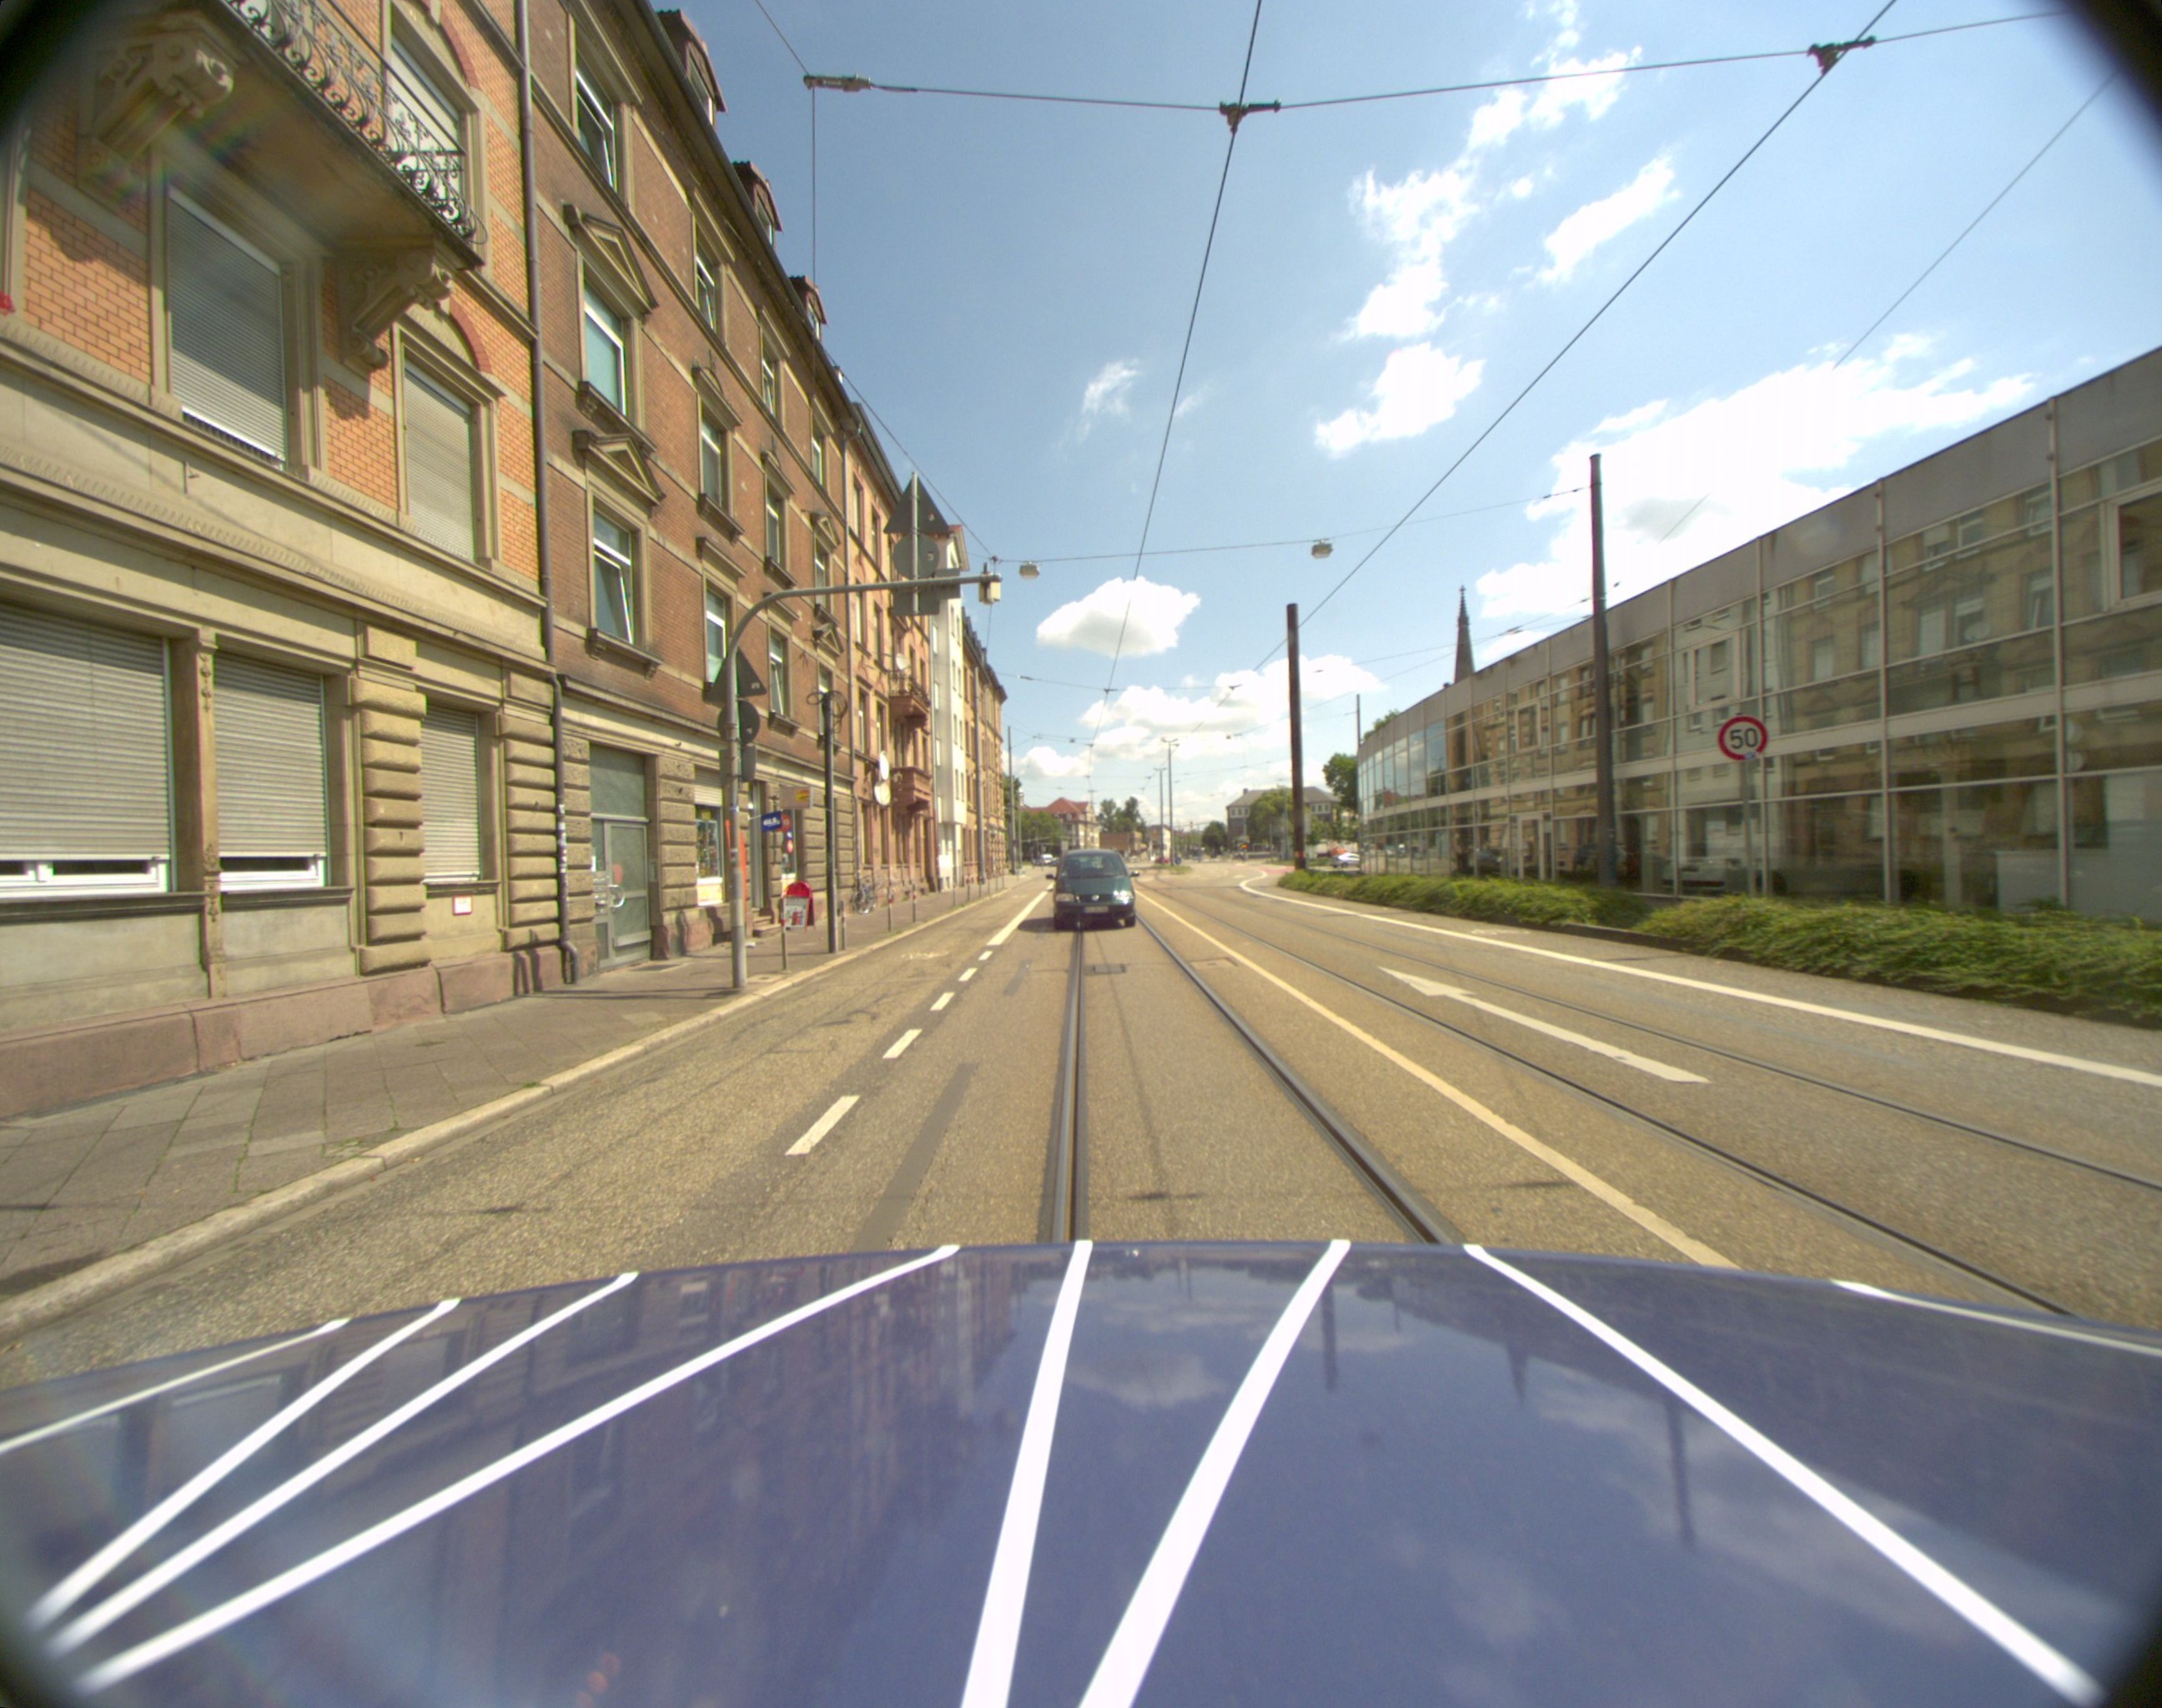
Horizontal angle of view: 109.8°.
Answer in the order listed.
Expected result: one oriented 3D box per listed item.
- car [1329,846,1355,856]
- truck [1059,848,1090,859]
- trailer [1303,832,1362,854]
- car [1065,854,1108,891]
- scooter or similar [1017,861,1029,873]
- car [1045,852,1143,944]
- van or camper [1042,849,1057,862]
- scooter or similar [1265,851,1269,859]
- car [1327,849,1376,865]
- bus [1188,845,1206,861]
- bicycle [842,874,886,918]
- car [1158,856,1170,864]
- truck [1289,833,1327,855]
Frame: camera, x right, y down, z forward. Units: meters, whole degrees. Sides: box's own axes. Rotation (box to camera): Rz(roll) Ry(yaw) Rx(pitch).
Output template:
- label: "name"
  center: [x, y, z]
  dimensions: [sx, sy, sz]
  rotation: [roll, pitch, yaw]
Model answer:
- label: "car"
  center: [48.363, -0.511, 140.796]
  dimensions: [4.373, 1.855, 1.913]
  rotation: [0, 0, -27]
- label: "truck"
  center: [-1.965, -0.082, 232.658]
  dimensions: [8.744, 2.981, 3.349]
  rotation: [-2, 2, -25]
- label: "trailer"
  center: [50.359, -2.184, 152.082]
  dimensions: [13.439, 4.052, 2.942]
  rotation: [-2, 0, -30]
- label: "car"
  center: [0.224, 0.839, 37.133]
  dimensions: [1.873, 1.607, 4.426]
  rotation: [-4, 0, -1]
- label: "scooter or similar"
  center: [-5.845, 1.353, 76.684]
  dimensions: [0.949, 1.173, 1.086]
  rotation: [-1, 1, 7]
- label: "car"
  center: [0.268, 0.853, 16.855]
  dimensions: [1.819, 1.707, 4.085]
  rotation: [-3, 0, 0]
- label: "van or camper"
  center: [-6.935, 0.365, 167.225]
  dimensions: [2.234, 2.719, 5.516]
  rotation: [-2, 0, -12]
- label: "scooter or similar"
  center: [28.135, 0.220, 114.860]
  dimensions: [0.462, 1.193, 0.549]
  rotation: [-2, 0, -1]
- label: "car"
  center: [26.727, 0.296, 75.167]
  dimensions: [4.188, 1.411, 1.818]
  rotation: [-2, 0, -12]
- label: "bus"
  center: [27.740, -0.239, 181.281]
  dimensions: [2.946, 3.427, 7.957]
  rotation: [-2, 0, 16]
- label: "bicycle"
  center: [-6.382, 1.211, 22.437]
  dimensions: [0.588, 1.171, 2.205]
  rotation: [-1, 0, 1]
- label: "car"
  center: [15.138, 1.035, 138.740]
  dimensions: [1.706, 1.419, 3.902]
  rotation: [0, 0, 1]
- label: "truck"
  center: [44.417, -2.006, 148.604]
  dimensions: [6.889, 4.094, 2.957]
  rotation: [-2, 0, -30]
